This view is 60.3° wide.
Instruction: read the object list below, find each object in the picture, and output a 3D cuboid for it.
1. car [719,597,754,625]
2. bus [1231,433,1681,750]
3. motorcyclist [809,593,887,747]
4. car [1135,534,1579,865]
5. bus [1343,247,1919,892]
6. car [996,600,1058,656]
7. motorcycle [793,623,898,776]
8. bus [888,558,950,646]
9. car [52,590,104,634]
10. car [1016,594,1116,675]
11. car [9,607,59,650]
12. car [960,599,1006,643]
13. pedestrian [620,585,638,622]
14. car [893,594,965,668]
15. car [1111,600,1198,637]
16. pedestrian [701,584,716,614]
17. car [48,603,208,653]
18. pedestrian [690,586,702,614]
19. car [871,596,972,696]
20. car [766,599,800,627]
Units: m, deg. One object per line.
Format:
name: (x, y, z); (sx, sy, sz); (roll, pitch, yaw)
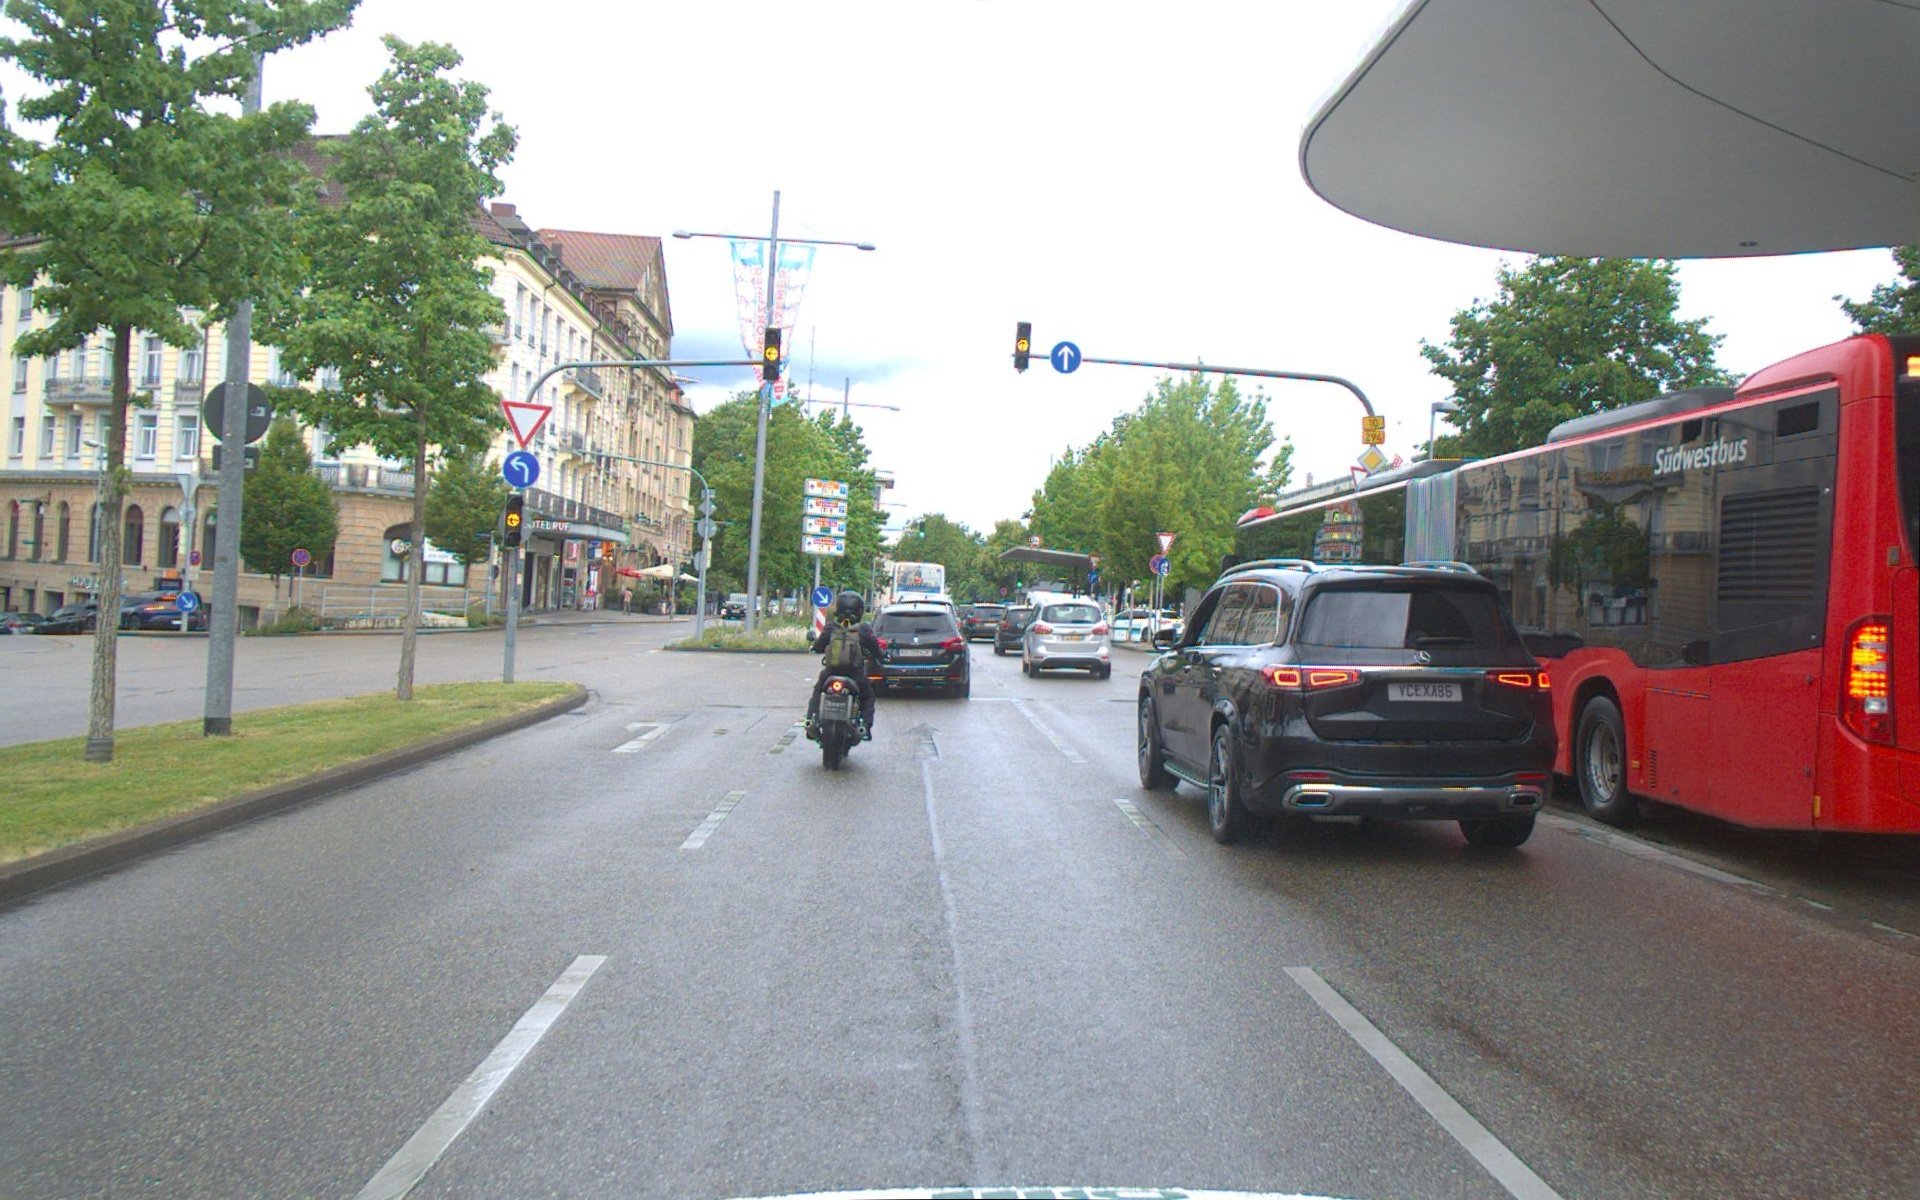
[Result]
car: (-13.321, 0.651, 98.785); (1.744, 1.594, 3.428); (0, 0, -2)
bus: (6.100, -0.073, 22.326); (3.224, 3.347, 8.846); (1, 0, -1)
motorcyclist: (-1.029, 0.632, 15.287); (0.628, 1.371, 0.689); (1, -1, 1)
car: (2.566, 0.575, 12.034); (1.918, 1.909, 4.871); (0, 0, -2)
bus: (6.261, -0.104, 14.080); (3.220, 3.349, 10.874); (1, 0, -1)
car: (1.939, 0.796, 48.602); (1.544, 1.594, 3.869); (0, 0, -2)
motorcycle: (-1.018, 0.864, 15.142); (0.776, 1.284, 1.855); (0, 0, 1)
bus: (-2.181, 0.165, 83.890); (2.781, 4.057, 11.857); (2, -1, -2)
car: (-34.533, 0.447, 64.730); (1.641, 1.632, 3.219); (-1, 1, -31)
car: (2.156, 0.688, 34.549); (1.706, 1.594, 3.869); (0, 0, -2)
car: (-37.913, 1.152, 67.708); (1.642, 1.632, 3.217); (-1, 1, -32)
car: (0.815, 0.772, 61.675); (1.544, 1.594, 3.794); (0, 0, -2)
pedestrian: (-18.253, 0.184, 91.167); (0.716, 2.049, 0.819); (2, -1, -28)
car: (-0.727, 0.661, 37.394); (1.544, 1.594, 3.869); (0, 0, -2)
car: (8.504, 0.787, 72.575); (1.566, 1.594, 3.740); (0, 0, -41)
pedestrian: (-16.840, -0.047, 110.785); (0.716, 2.000, 0.819); (2, -1, -28)
car: (-27.290, 0.897, 54.360); (4.302, 1.598, 1.820); (0, 0, -4)
pedestrian: (-17.747, 0.006, 111.112); (0.550, 1.809, 0.497); (1, -1, 33)
car: (-0.626, 0.707, 27.263); (1.543, 1.531, 3.870); (0, 0, -1)
car: (-10.361, 0.737, 97.169); (1.744, 1.594, 3.428); (0, 0, -2)
